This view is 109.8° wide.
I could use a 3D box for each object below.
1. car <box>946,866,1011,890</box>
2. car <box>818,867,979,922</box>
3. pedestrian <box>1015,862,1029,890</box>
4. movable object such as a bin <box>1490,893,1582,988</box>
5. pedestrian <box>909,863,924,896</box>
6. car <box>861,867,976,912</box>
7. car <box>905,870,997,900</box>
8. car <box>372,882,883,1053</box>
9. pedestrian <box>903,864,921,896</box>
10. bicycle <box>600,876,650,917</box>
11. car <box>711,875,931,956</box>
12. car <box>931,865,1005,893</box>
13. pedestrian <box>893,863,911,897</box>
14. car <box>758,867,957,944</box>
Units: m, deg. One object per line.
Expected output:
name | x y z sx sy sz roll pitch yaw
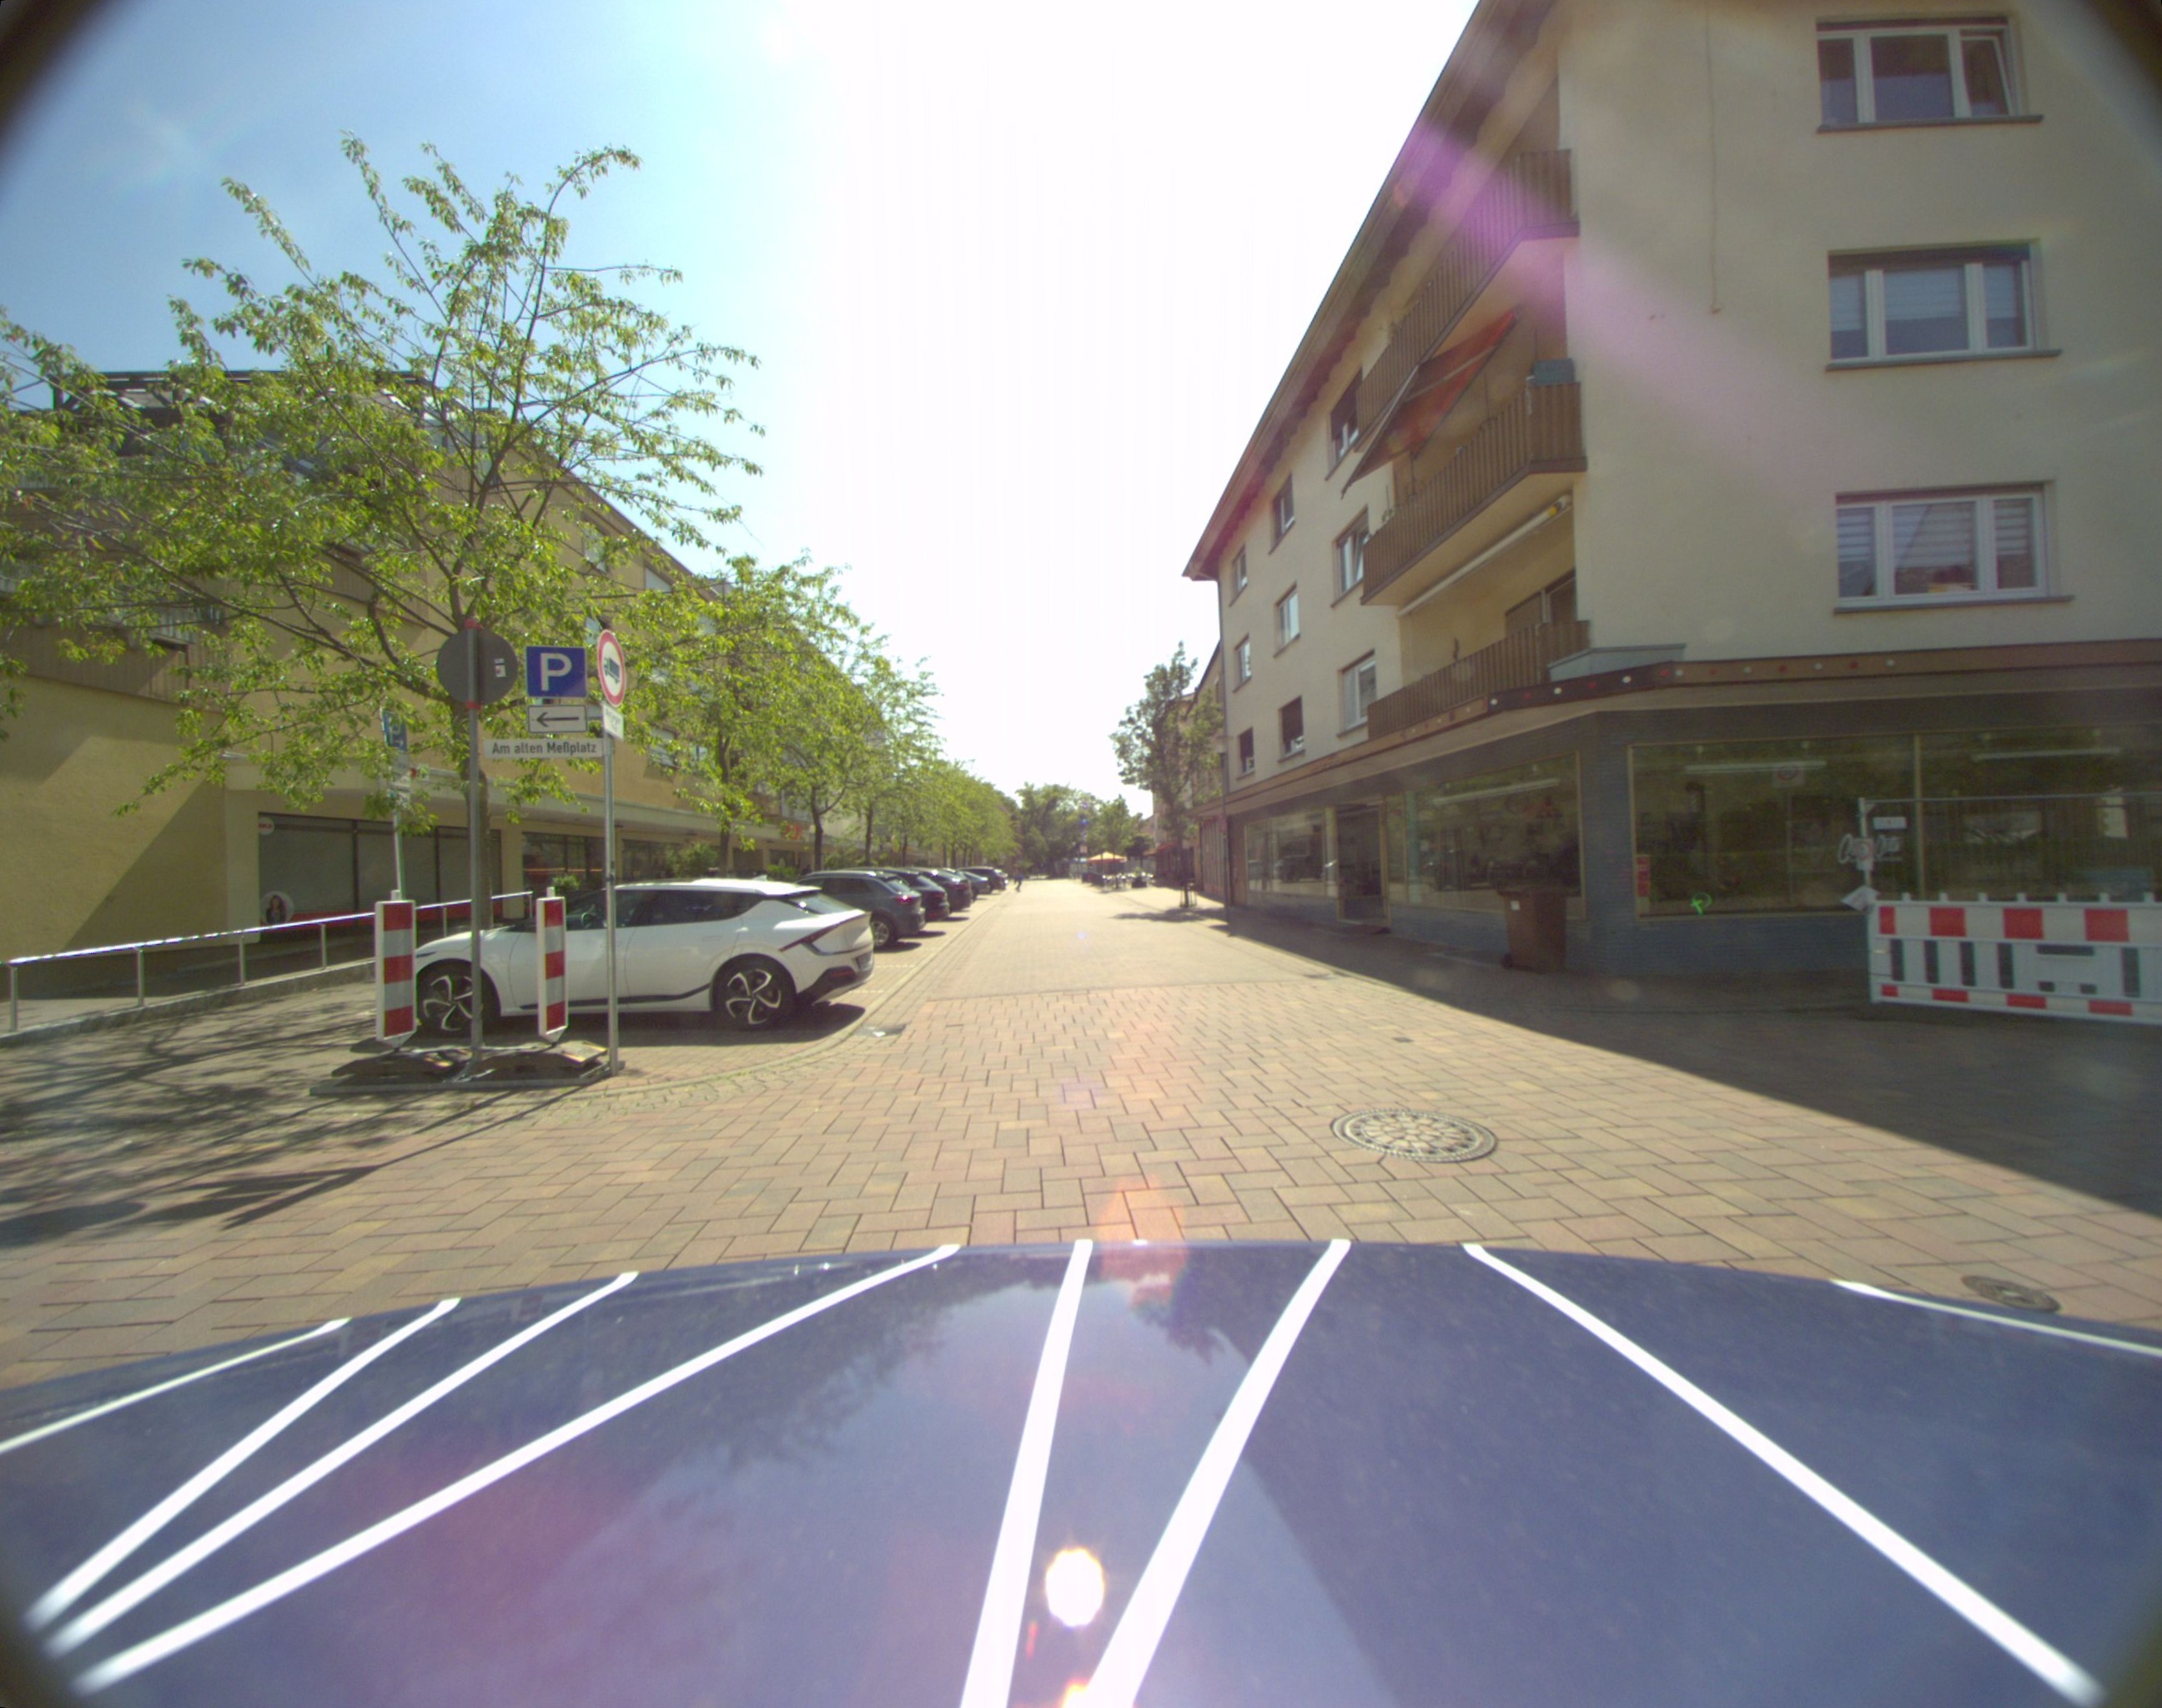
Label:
car | -7.641 1.795 56.837 4.587 1.534 1.806 -3 -1 -3
car | -5.568 1.218 23.604 4.520 1.579 1.850 -1 -1 -1
pedestrian | -3.882 1.424 49.896 0.759 1.770 0.870 -2 0 4
movable object such as a bin | 5.574 1.037 9.336 0.657 1.064 0.663 -3 0 -10
pedestrian | -9.087 1.403 41.934 0.607 1.785 0.626 -2 0 -31
car | -6.009 1.304 28.452 4.038 1.602 1.680 0 0 -4
car | -6.722 1.562 39.345 4.392 1.454 1.887 0 -1 -22
car | -4.608 1.127 8.289 4.452 1.566 1.788 0 -1 -3
pedestrian | -9.544 1.474 42.859 0.614 1.720 0.649 -3 1 31
bicycle | -13.554 1.243 22.636 0.413 1.117 1.774 -3 0 -1
car | -5.206 1.209 15.689 3.955 1.525 1.823 0 0 -4
car | -6.719 1.495 45.471 4.256 1.608 1.756 -1 -1 -4
pedestrian | -9.761 1.417 41.422 0.633 1.762 0.685 -2 0 -41
car | -5.291 1.200 18.506 4.292 1.671 2.000 -1 0 -5
